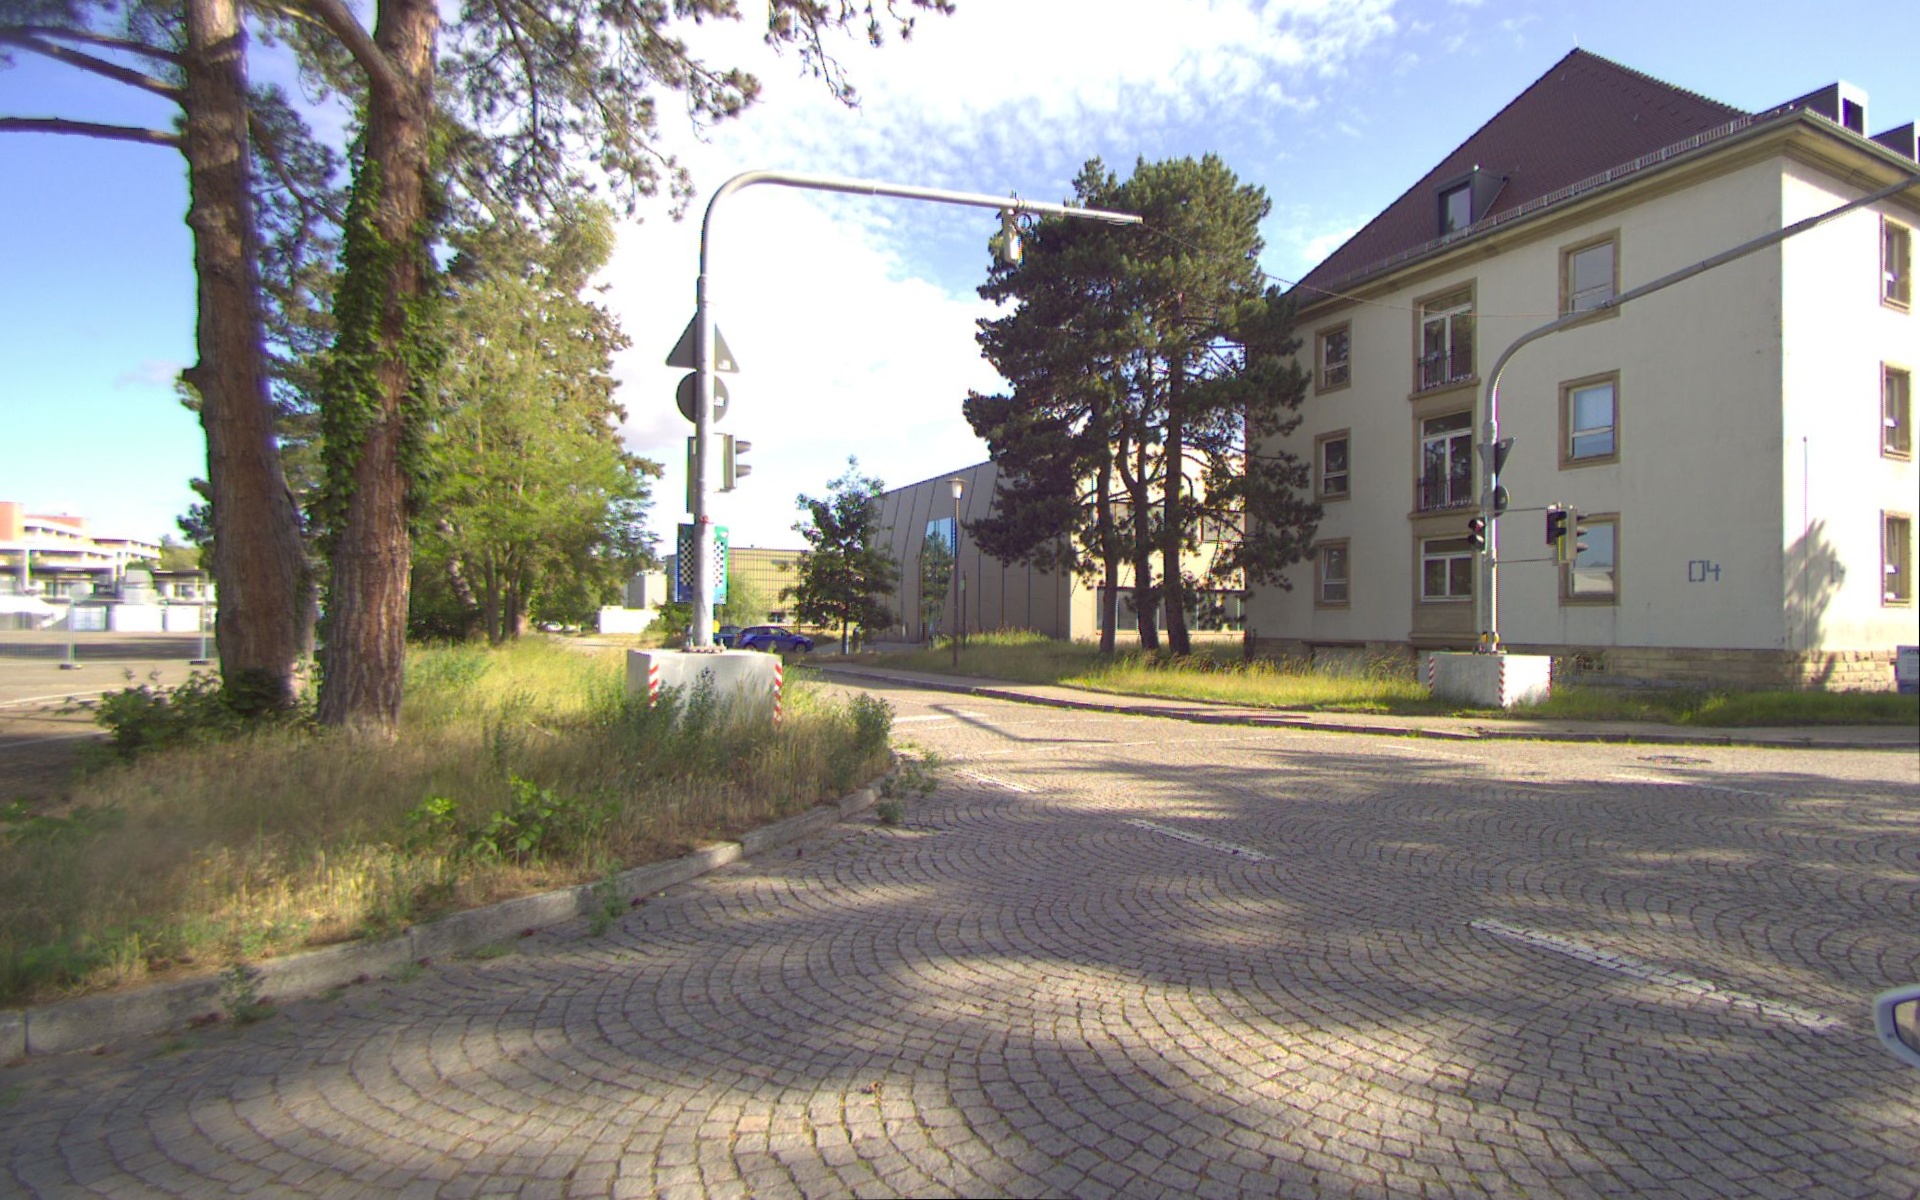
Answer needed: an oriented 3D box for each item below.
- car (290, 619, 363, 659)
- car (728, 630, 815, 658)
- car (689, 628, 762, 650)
[{"bbox_3d":[-23.289,1.408,37.037,1.723,1.388,3.601,1,-1,-24],"label":"car"},{"bbox_3d":[-9.400,2.194,50.102,3.995,1.311,1.483,1,-1,-25],"label":"car"},{"bbox_3d":[-13.636,2.268,58.409,3.944,1.221,1.483,1,-1,-24],"label":"car"}]
